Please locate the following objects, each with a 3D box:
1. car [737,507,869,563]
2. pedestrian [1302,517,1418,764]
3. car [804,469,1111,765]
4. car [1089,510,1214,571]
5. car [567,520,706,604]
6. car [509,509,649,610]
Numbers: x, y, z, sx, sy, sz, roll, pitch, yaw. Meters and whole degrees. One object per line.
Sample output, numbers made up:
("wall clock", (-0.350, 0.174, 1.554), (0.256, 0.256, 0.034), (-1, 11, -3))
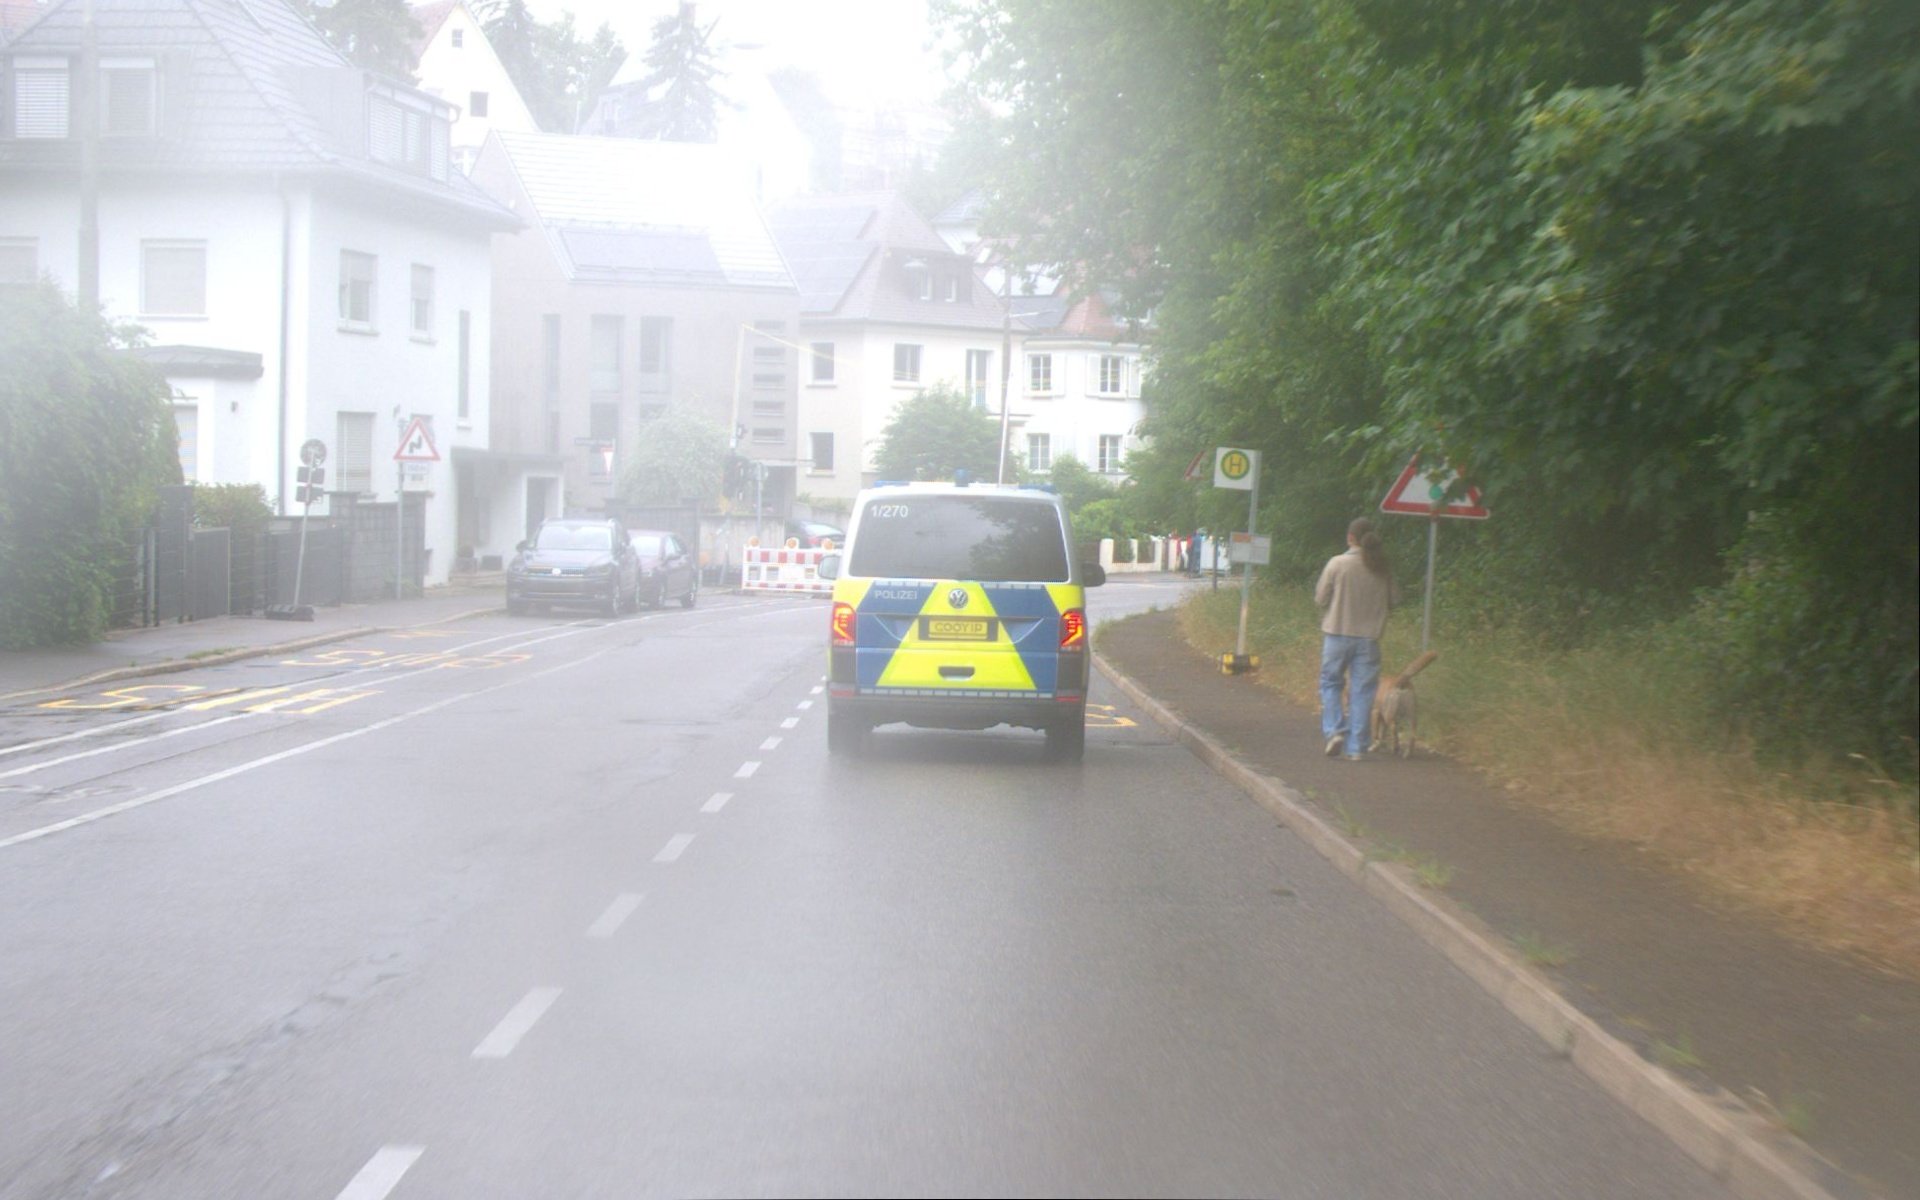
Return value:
("car", (-4.600, -1.906, 100.177), (1.834, 1.438, 4.000), (1, 3, -38))
("pedestrian", (2.662, 0.266, 22.921), (0.642, 1.605, 0.670), (2, 0, -1))
("car", (-0.117, 0.073, 25.842), (1.993, 2.007, 4.402), (1, 1, -4))
("car", (6.864, -2.136, 123.203), (3.994, 2.006, 1.827), (4, 2, 31))
("car", (-6.006, -0.735, 64.302), (1.617, 1.435, 4.229), (2, 2, 8))
("car", (-6.487, -0.726, 58.942), (1.754, 1.653, 4.405), (0, 2, 2))
